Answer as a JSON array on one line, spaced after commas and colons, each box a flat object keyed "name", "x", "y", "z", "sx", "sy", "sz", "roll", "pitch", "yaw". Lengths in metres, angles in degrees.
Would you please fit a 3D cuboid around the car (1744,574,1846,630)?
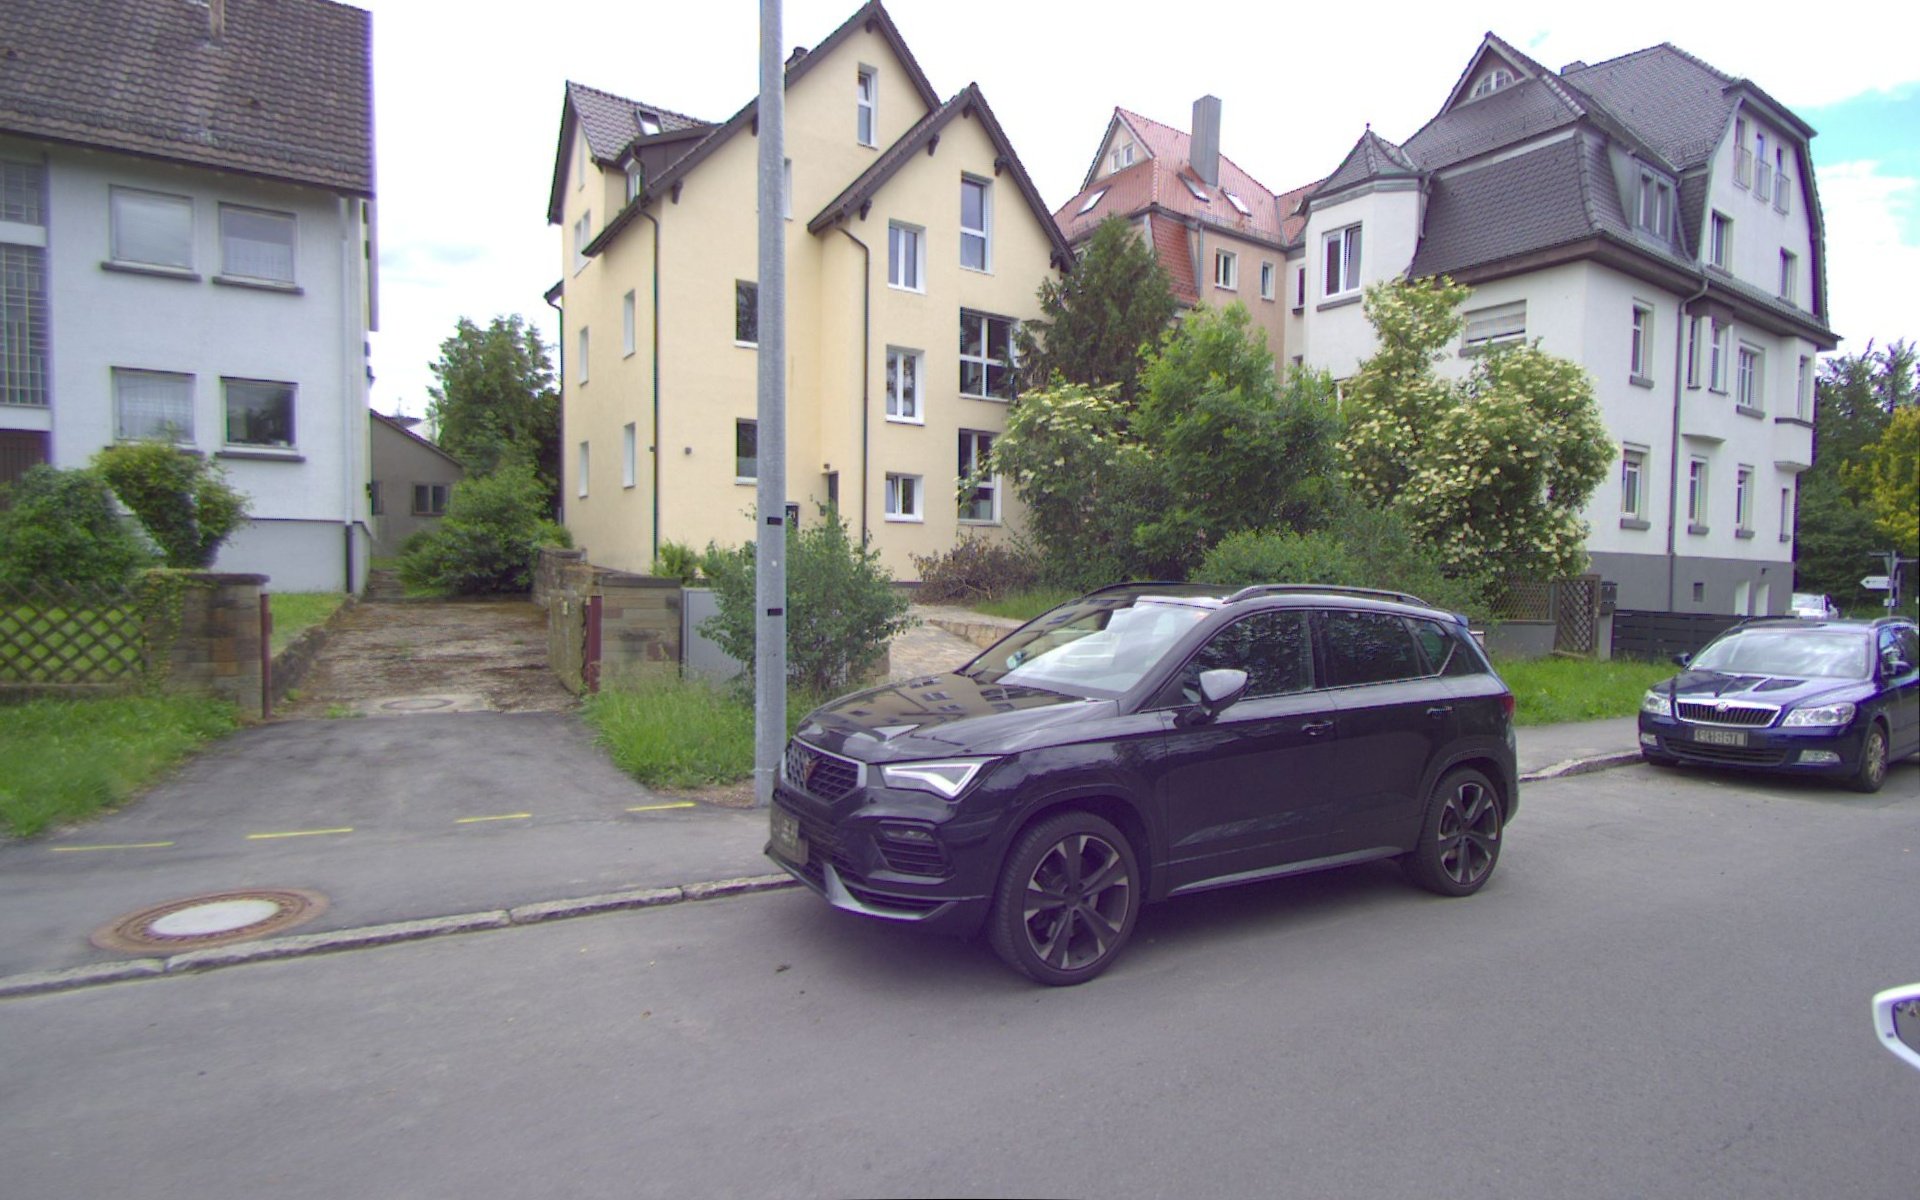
[{"name": "car", "x": 27.704, "y": 0.076, "z": 33.272, "sx": 4.564, "sy": 1.553, "sz": 1.887, "roll": 2, "pitch": 5, "yaw": -43}]

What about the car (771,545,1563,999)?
[{"name": "car", "x": 1.225, "y": 0.649, "z": 5.308, "sx": 4.031, "sy": 1.603, "sz": 1.653, "roll": 2, "pitch": 0, "yaw": -31}]

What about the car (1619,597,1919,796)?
[{"name": "car", "x": 8.707, "y": 0.802, "z": 10.236, "sx": 4.767, "sy": 1.594, "sz": 1.715, "roll": 1, "pitch": 0, "yaw": -36}]

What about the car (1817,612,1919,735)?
[{"name": "car", "x": 13.089, "y": 0.936, "z": 13.124, "sx": 4.678, "sy": 1.408, "sz": 1.713, "roll": 2, "pitch": 0, "yaw": -35}]
